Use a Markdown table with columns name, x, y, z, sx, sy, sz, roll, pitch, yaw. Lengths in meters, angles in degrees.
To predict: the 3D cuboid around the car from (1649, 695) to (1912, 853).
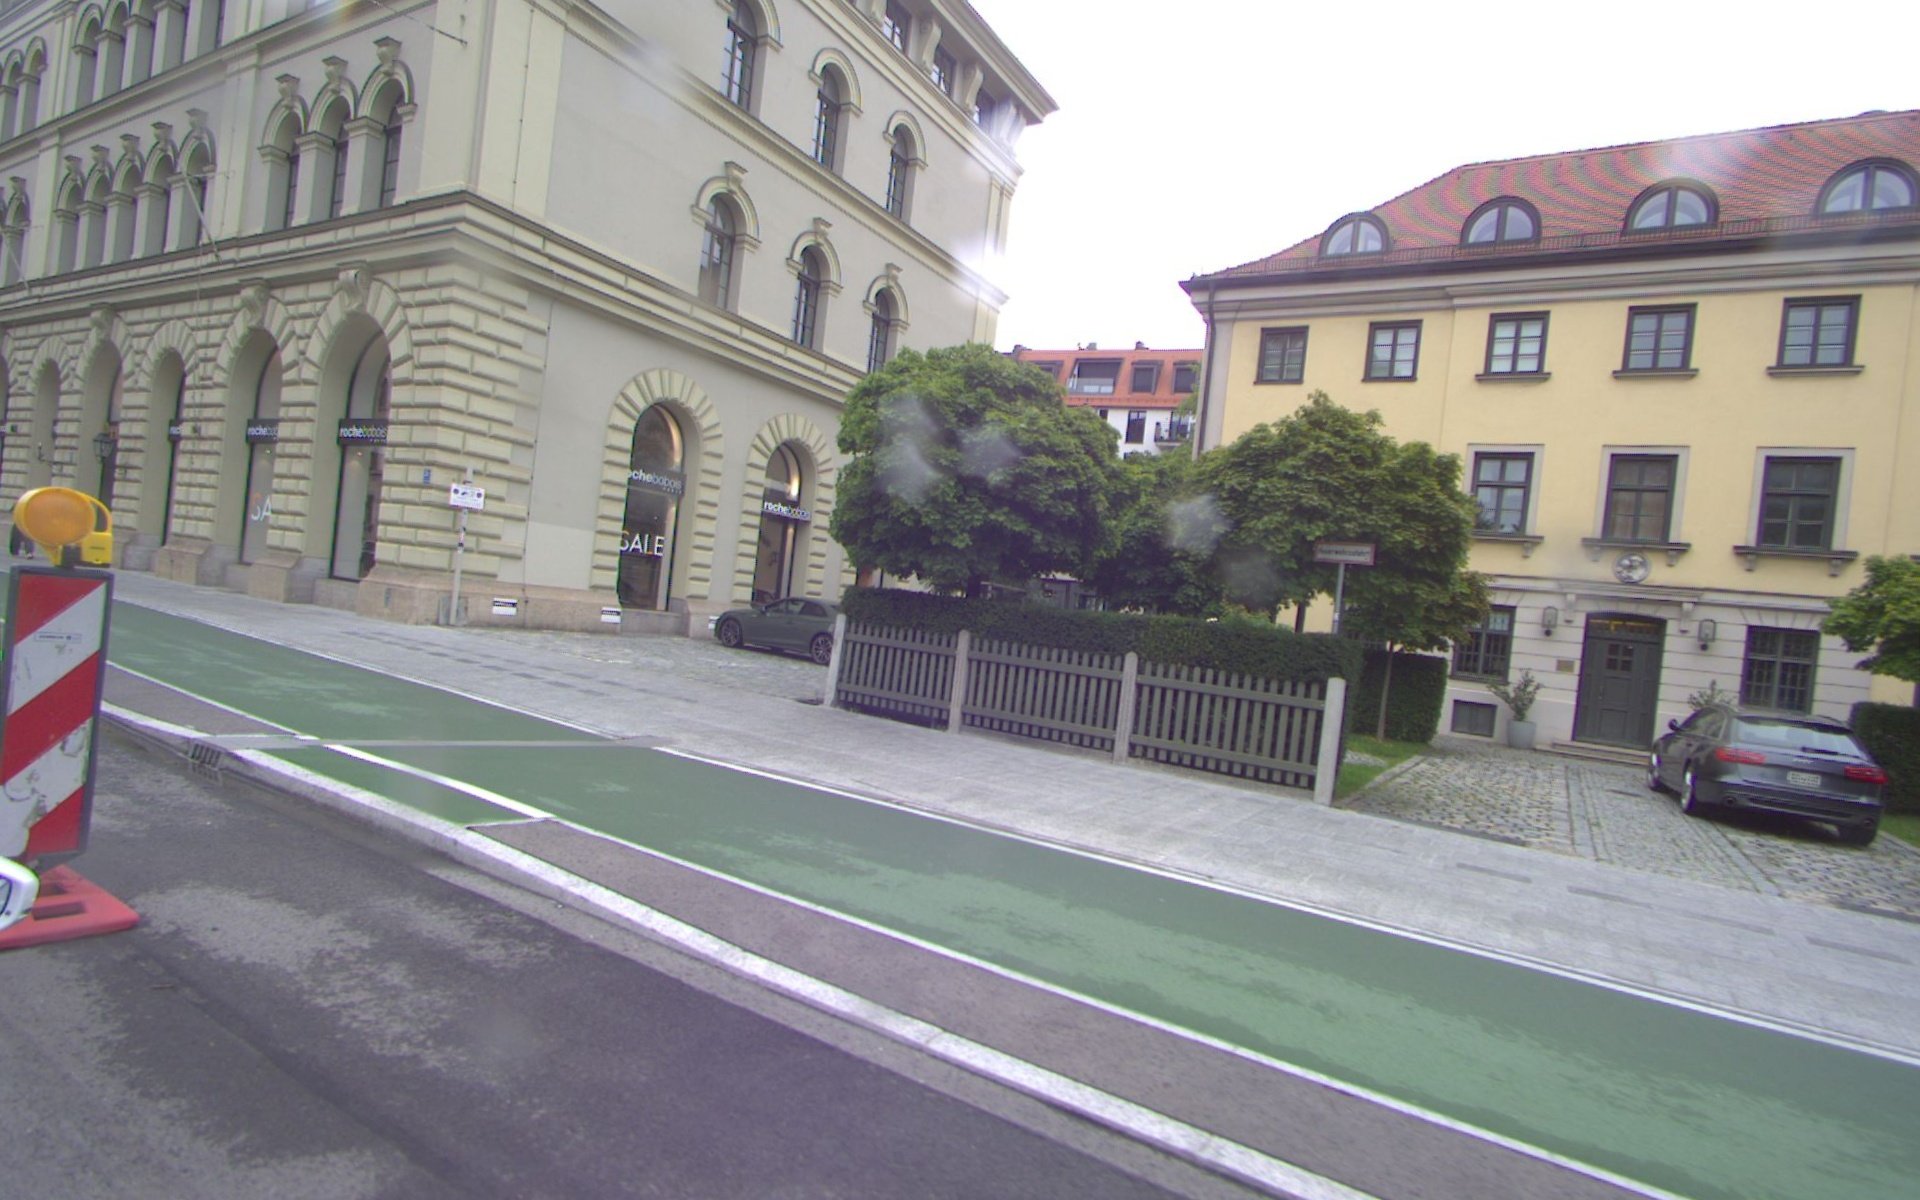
| name | x | y | z | sx | sy | sz | roll | pitch | yaw |
| --- | --- | --- | --- | --- | --- | --- | --- | --- | --- |
| car | 10.597 | 2.128 | 13.363 | 1.824 | 1.434 | 4.302 | 7 | -1 | 29 |

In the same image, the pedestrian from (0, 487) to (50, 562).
| name | x | y | z | sx | sy | sz | roll | pitch | yaw |
| --- | --- | --- | --- | --- | --- | --- | --- | --- | --- |
| pedestrian | -23.326 | -1.883 | 25.043 | 1.068 | 1.726 | 0.632 | 7 | 1 | 31 |

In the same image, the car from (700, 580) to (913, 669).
| name | x | y | z | sx | sy | sz | roll | pitch | yaw |
| --- | --- | --- | --- | --- | --- | --- | --- | --- | --- |
| car | -3.534 | 0.543 | 22.844 | 4.553 | 1.443 | 1.860 | 7 | -1 | 32 |
